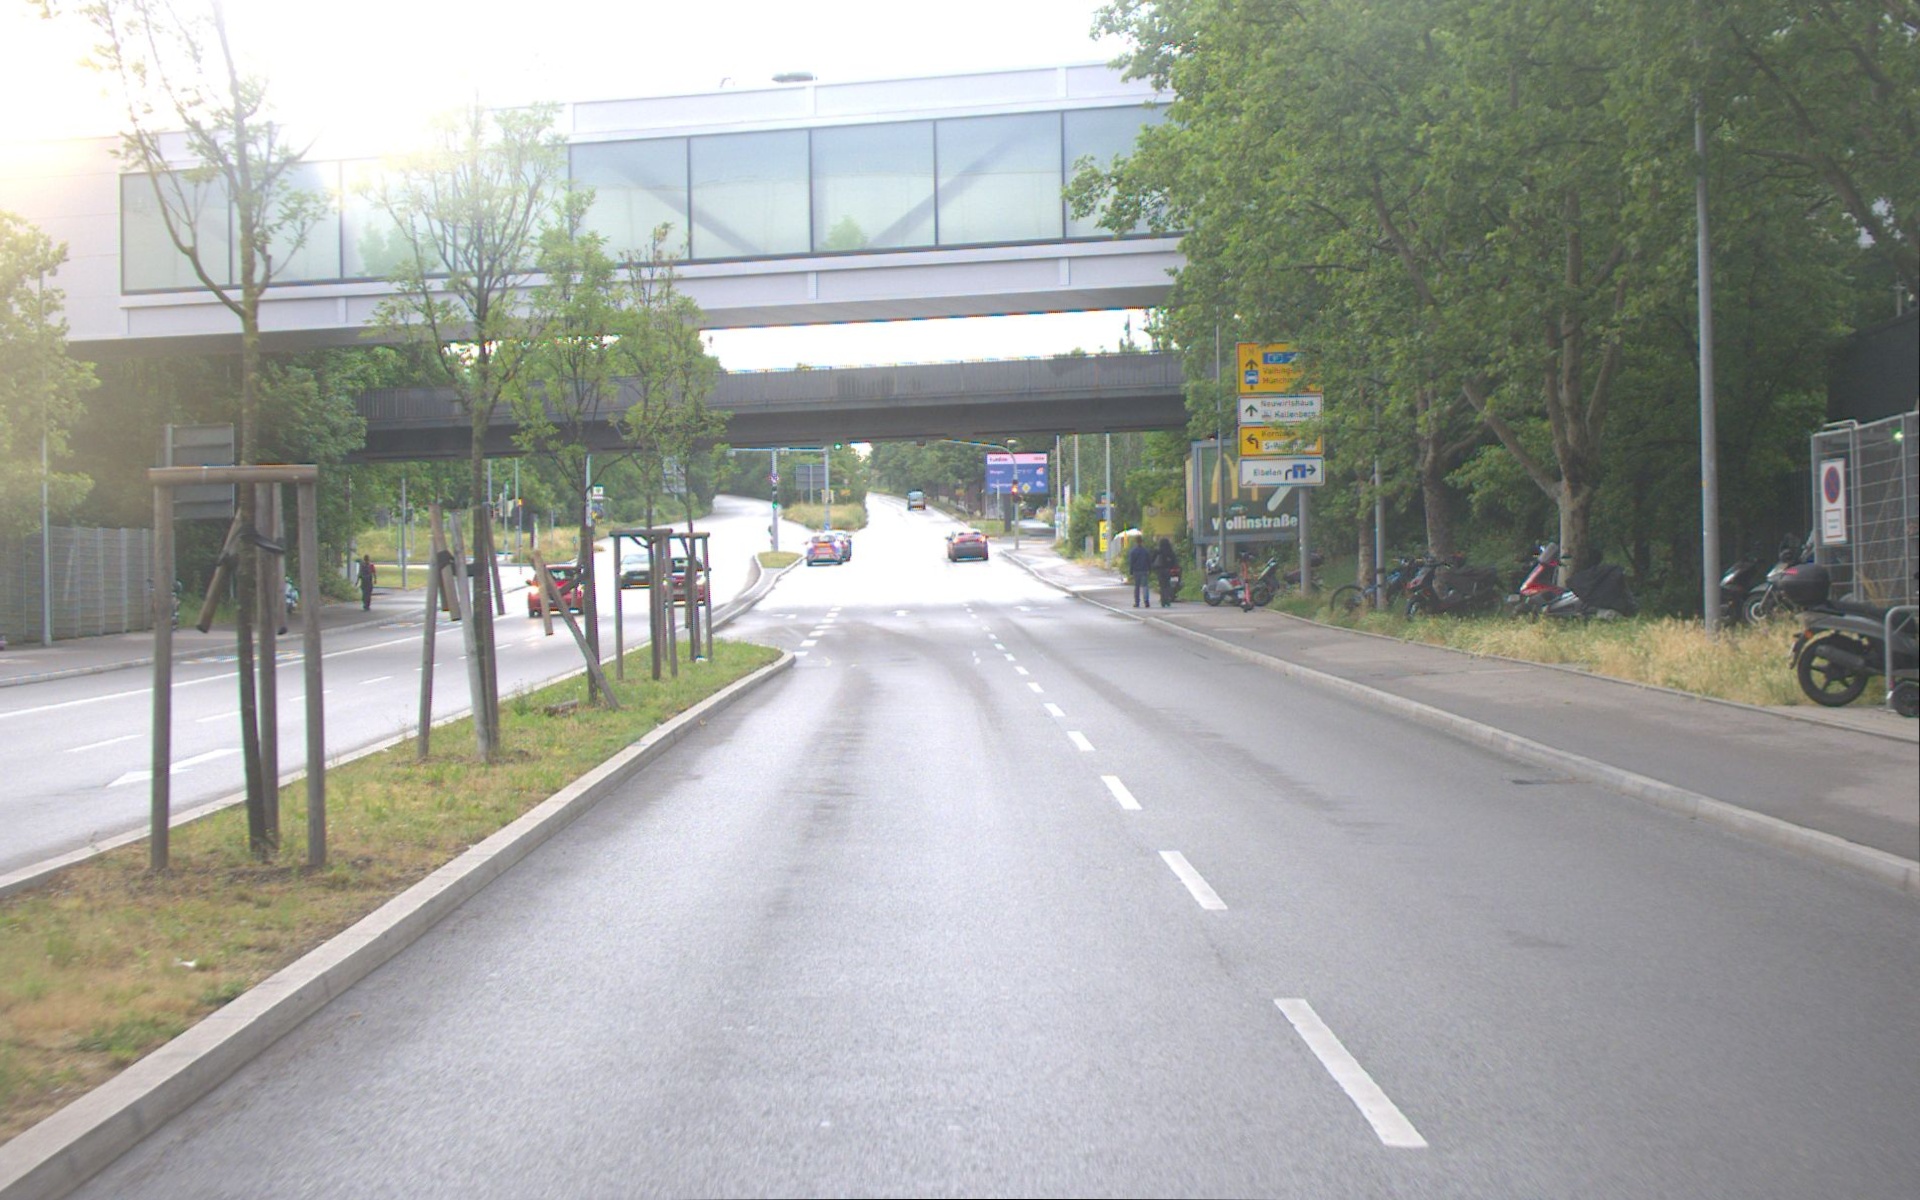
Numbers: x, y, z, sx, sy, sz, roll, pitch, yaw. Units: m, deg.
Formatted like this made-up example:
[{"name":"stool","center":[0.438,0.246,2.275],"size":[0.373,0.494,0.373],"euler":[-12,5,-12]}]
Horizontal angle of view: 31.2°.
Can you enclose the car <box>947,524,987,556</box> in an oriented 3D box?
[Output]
[{"name":"car","center":[0.318,-2.865,164.026],"size":[1.744,1.465,4.167],"euler":[-1,2,-2]}]

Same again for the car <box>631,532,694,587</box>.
[{"name":"car","center":[-9.095,-1.232,105.441],"size":[1.585,1.600,3.856],"euler":[-3,1,-1]}]

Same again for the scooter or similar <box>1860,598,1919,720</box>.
[{"name":"scooter or similar","center":[7.881,0.445,27.200],"size":[1.472,0.933,0.366],"euler":[-2,1,-18]}]

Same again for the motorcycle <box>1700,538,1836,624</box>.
[{"name":"motorcycle","center":[12.058,-0.288,51.348],"size":[1.915,1.253,0.491],"euler":[1,0,5]}]

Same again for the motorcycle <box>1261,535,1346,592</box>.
[{"name":"motorcycle","center":[8.076,-0.851,80.903],"size":[1.942,1.293,0.546],"euler":[-1,1,34]}]

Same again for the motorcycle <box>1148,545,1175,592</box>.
[{"name":"motorcycle","center":[4.894,-0.774,83.536],"size":[0.469,1.133,1.819],"euler":[-2,1,-1]}]

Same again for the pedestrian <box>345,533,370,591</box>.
[{"name":"pedestrian","center":[-18.931,-1.190,107.958],"size":[0.520,1.809,0.799],"euler":[0,1,9]}]

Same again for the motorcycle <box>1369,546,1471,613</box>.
[{"name":"motorcycle","center":[8.987,-0.411,67.217],"size":[1.848,1.248,0.630],"euler":[-2,1,-16]}]

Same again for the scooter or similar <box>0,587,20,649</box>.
[{"name":"scooter or similar","center":[-19.367,0.360,69.395],"size":[0.311,1.214,1.308],"euler":[-2,1,4]}]

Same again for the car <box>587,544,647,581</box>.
[{"name":"car","center":[-13.526,-1.504,135.896],"size":[2.063,1.357,4.757],"euler":[-2,1,-2]}]

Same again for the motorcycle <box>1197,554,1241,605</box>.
[{"name":"motorcycle","center":[6.247,-0.496,82.978],"size":[0.469,1.209,1.945],"euler":[-2,1,-13]}]

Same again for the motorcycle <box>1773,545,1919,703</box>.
[{"name":"motorcycle","center":[7.822,0.184,28.605],"size":[2.010,1.268,0.441],"euler":[-2,1,12]}]

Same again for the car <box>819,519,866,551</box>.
[{"name":"car","center":[-5.999,-3.315,175.948],"size":[2.166,1.577,4.664],"euler":[1,0,1]}]

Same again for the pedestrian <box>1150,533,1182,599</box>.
[{"name":"pedestrian","center":[5.006,-0.826,83.438],"size":[0.651,1.590,0.578],"euler":[-2,1,11]}]

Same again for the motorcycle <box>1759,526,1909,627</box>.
[{"name":"motorcycle","center":[12.031,-0.321,47.354],"size":[1.928,1.360,0.506],"euler":[1,0,-6]}]

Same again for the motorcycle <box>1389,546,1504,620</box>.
[{"name":"motorcycle","center":[8.237,-0.295,58.161],"size":[1.848,1.187,0.522],"euler":[-2,1,-16]}]

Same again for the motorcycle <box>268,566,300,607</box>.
[{"name":"motorcycle","center":[-19.887,-0.398,101.137],"size":[0.468,1.154,1.932],"euler":[-2,1,2]}]

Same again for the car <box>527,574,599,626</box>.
[{"name":"car","center":[-11.594,-0.018,100.603],"size":[1.715,1.432,3.772],"euler":[-3,1,-2]}]

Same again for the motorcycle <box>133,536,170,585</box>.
[{"name":"motorcycle","center":[-20.370,-1.005,86.603],"size":[0.468,1.200,1.997],"euler":[-2,1,-1]}]

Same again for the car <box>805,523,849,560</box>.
[{"name":"car","center":[-6.374,-2.788,164.506],"size":[2.076,1.712,4.199],"euler":[1,0,-3]}]

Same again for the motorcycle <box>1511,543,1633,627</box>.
[{"name":"motorcycle","center":[8.563,-0.211,48.143],"size":[1.653,1.146,0.493],"euler":[1,0,7]}]

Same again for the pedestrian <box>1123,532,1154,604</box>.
[{"name":"pedestrian","center":[4.339,-0.782,83.598],"size":[0.611,1.715,0.891],"euler":[-2,1,9]}]

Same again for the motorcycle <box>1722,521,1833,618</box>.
[{"name":"motorcycle","center":[11.718,-0.438,49.324],"size":[0.505,1.360,1.502],"euler":[1,0,-43]}]
